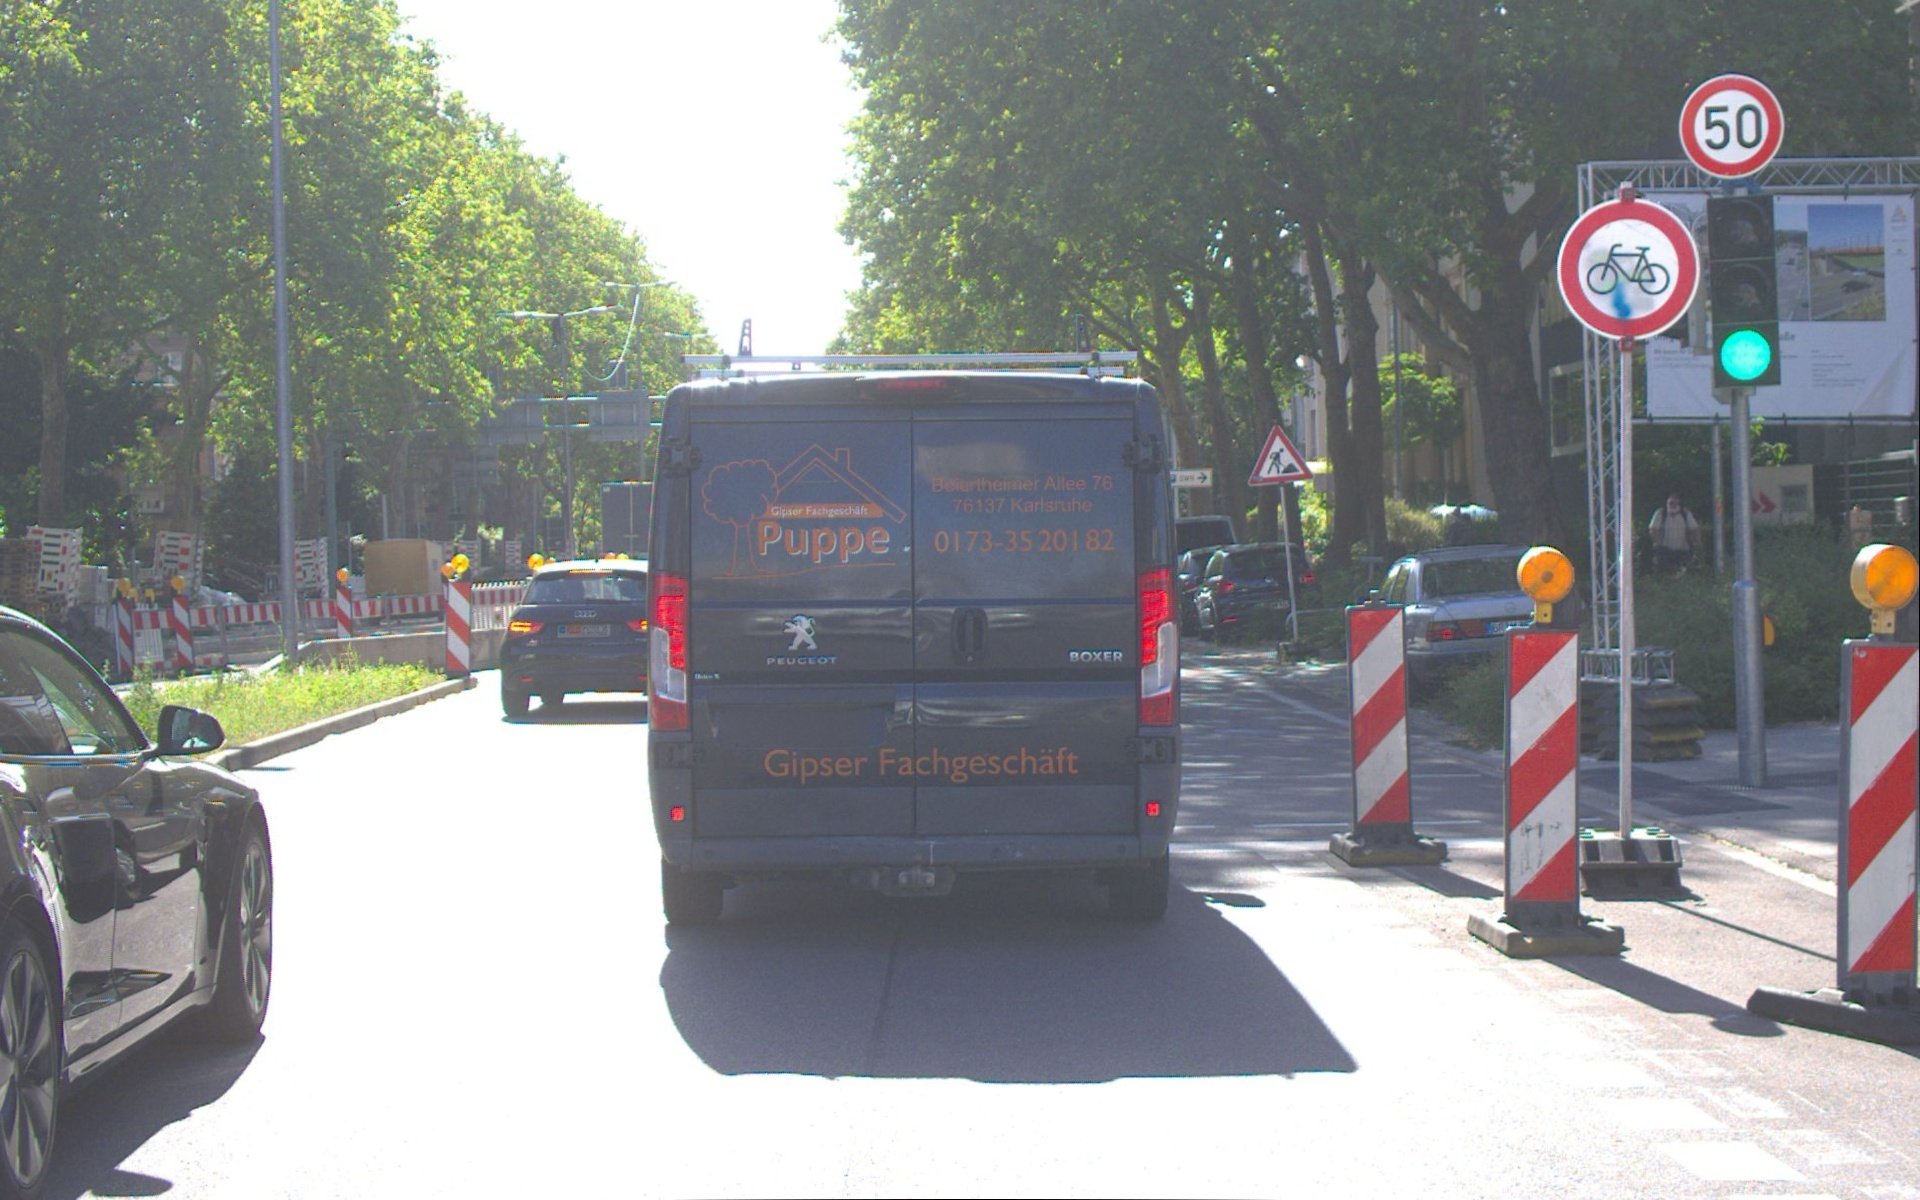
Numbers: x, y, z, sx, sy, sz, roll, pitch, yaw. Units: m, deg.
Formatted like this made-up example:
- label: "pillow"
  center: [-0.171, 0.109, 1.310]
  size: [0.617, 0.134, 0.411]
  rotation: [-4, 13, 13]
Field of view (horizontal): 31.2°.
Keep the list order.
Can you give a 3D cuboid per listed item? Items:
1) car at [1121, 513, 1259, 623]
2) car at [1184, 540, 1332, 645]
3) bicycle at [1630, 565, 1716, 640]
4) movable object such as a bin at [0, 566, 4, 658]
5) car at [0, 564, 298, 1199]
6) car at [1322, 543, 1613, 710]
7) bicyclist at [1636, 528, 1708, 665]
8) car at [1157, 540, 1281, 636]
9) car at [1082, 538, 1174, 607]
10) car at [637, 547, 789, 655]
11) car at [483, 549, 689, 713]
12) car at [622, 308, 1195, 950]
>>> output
- label: "car"
  center: [4.261, -0.606, 64.354]
  size: [2.025, 1.940, 5.274]
  rotation: [-1, 1, -2]
- label: "car"
  center: [4.517, -0.138, 52.680]
  size: [1.763, 1.503, 4.251]
  rotation: [-1, 1, -1]
- label: "bicycle"
  center: [9.626, 0.024, 46.461]
  size: [0.782, 0.963, 1.823]
  rotation: [-1, 1, 1]
- label: "movable object such as a bin"
  center: [-19.308, 0.038, 62.695]
  size: [1.993, 2.271, 5.599]
  rotation: [-2, 1, 1]
- label: "car"
  center: [-3.051, 0.652, 8.791]
  size: [1.925, 1.407, 4.626]
  rotation: [-1, 1, -2]
- label: "car"
  center: [4.839, 0.202, 33.456]
  size: [1.852, 1.474, 4.943]
  rotation: [-1, 1, -3]
- label: "bicyclist"
  center: [9.644, -0.053, 46.582]
  size: [0.724, 1.814, 1.071]
  rotation: [-1, 1, 0]
- label: "car"
  center: [4.307, -0.221, 57.668]
  size: [1.657, 1.535, 4.129]
  rotation: [0, 1, -1]
- label: "car"
  center: [3.924, -0.645, 81.012]
  size: [1.821, 1.502, 4.677]
  rotation: [-2, 1, -1]
- label: "car"
  center: [-3.531, -0.015, 49.905]
  size: [1.911, 1.439, 4.603]
  rotation: [-2, 1, -1]
- label: "car"
  center: [-3.514, 0.249, 32.864]
  size: [1.746, 1.402, 4.001]
  rotation: [0, 2, -3]
- label: "car"
  center: [-0.261, 0.057, 14.649]
  size: [2.095, 2.347, 3.933]
  rotation: [-1, 1, -2]
